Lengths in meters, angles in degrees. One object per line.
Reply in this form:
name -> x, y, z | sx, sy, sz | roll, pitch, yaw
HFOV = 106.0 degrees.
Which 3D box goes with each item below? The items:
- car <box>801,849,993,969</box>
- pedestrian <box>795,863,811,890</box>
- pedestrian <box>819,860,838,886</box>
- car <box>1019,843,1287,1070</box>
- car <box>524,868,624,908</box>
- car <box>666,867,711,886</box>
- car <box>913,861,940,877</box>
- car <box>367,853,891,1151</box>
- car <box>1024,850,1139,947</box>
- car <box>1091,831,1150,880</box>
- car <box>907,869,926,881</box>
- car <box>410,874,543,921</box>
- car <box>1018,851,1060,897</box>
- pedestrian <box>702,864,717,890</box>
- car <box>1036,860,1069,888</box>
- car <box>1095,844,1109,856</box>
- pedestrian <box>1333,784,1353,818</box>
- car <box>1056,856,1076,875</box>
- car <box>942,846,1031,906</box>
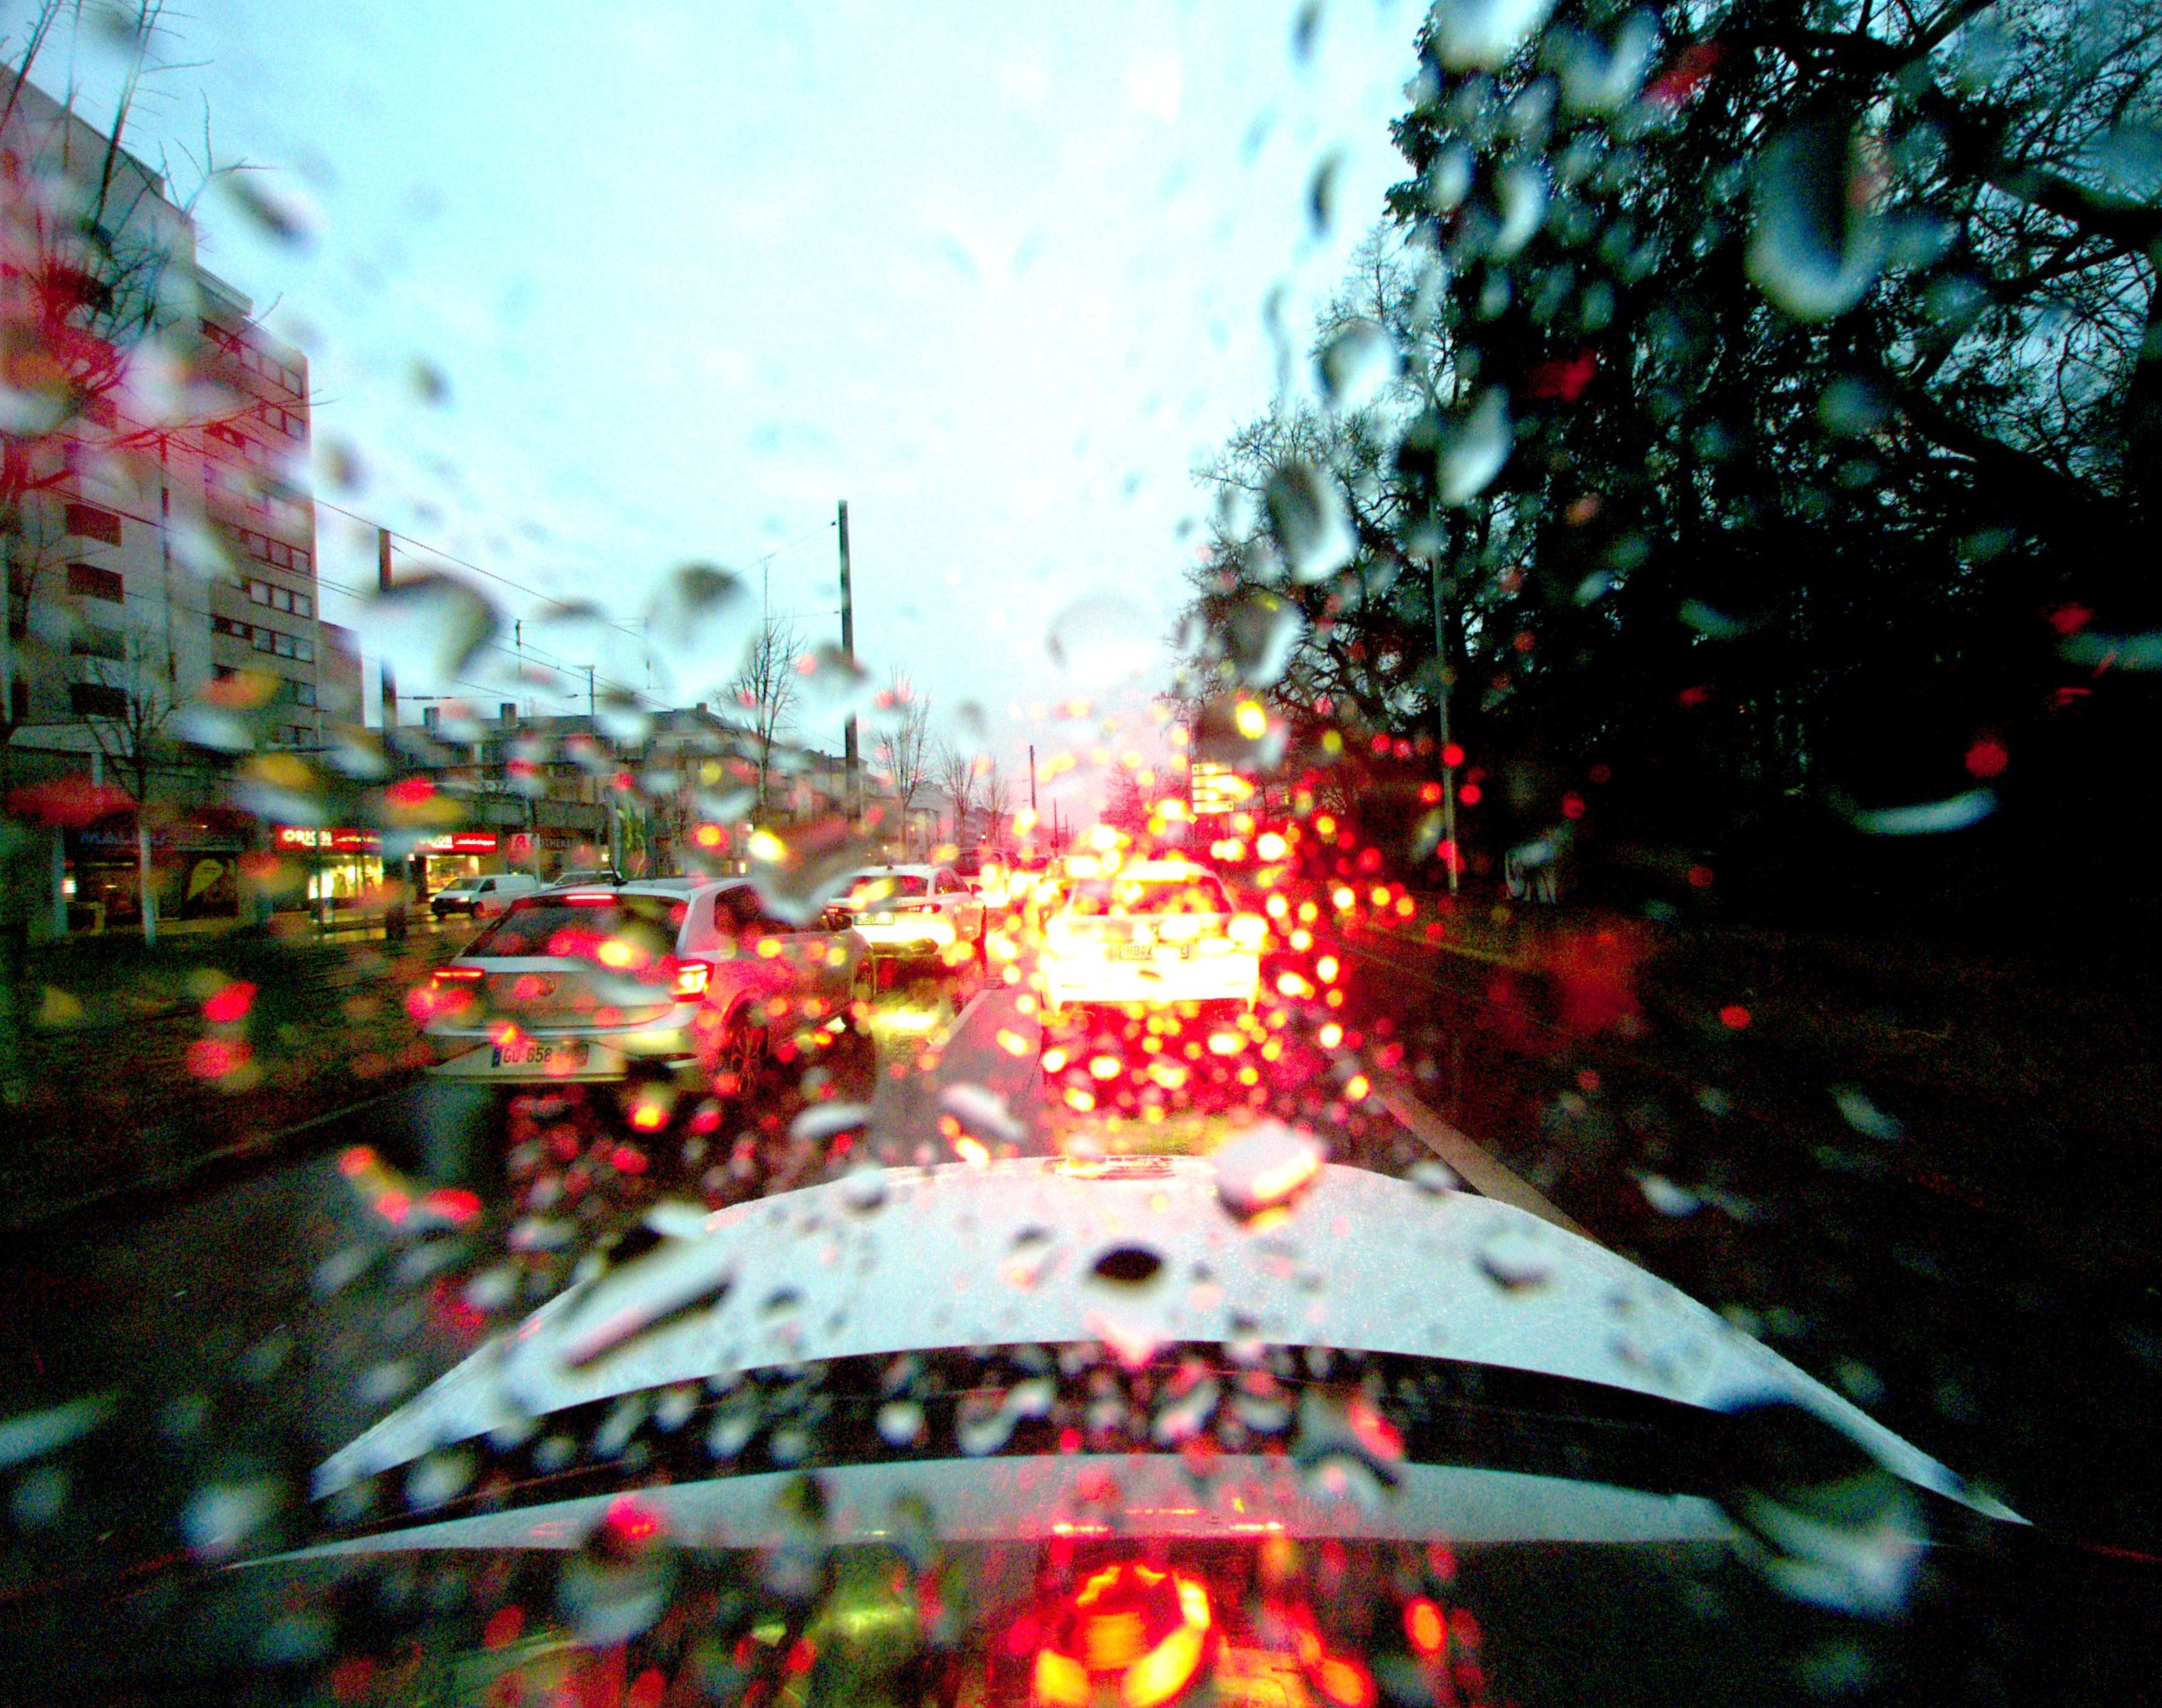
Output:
car -> -2.623, 0.709, 12.802 | 1.792, 1.466, 4.587 | -3, 0, 2
pedestrian -> -21.377, 1.727, 62.632 | 1.071, 2.013, 1.001 | -2, 0, -20
pedestrian -> -20.121, 1.506, 64.811 | 1.274, 2.013, 1.000 | -2, 0, -23
car -> 0.595, 0.732, 8.317 | 1.855, 1.556, 4.940 | -3, 0, 2
car -> -30.707, 1.984, 49.431 | 4.859, 2.244, 1.975 | 0, -1, -44
car -> -40.700, 2.341, 84.489 | 3.744, 1.942, 1.838 | 0, -1, -7
car -> -16.133, 1.575, 85.130 | 1.987, 1.602, 4.000 | 0, -1, 1
car -> -2.855, 0.780, 6.290 | 1.686, 1.533, 4.002 | -1, 0, 2
car -> 0.070, 0.726, 15.060 | 1.793, 1.511, 3.897 | -2, 0, 2
car -> 1.255, 0.040, 26.671 | 1.731, 1.419, 3.704 | -3, 0, 2
car -> -19.954, 2.531, 99.077 | 1.688, 1.277, 4.141 | -2, 0, -4
car -> -29.706, 2.093, 40.325 | 1.983, 2.046, 5.575 | 0, -1, 6
car -> -1.541, 0.738, 30.666 | 1.501, 1.653, 2.843 | 0, -1, -2
pedestrian -> -29.424, 1.839, 64.448 | 1.010, 2.013, 0.953 | -2, 0, -26
car -> -1.367, 0.980, 39.967 | 1.357, 1.316, 2.718 | 0, -1, 3
car -> 2.624, -0.521, 101.773 | 1.731, 1.419, 4.147 | -3, 0, 2
pedestrian -> 16.585, -3.344, 51.520 | 0.954, 2.013, 1.009 | -2, 0, 5
car -> -1.050, 0.777, 56.543 | 1.359, 1.316, 2.715 | 0, -1, -1
car -> -2.456, 0.537, 22.284 | 1.731, 1.419, 4.395 | -3, 0, 2
